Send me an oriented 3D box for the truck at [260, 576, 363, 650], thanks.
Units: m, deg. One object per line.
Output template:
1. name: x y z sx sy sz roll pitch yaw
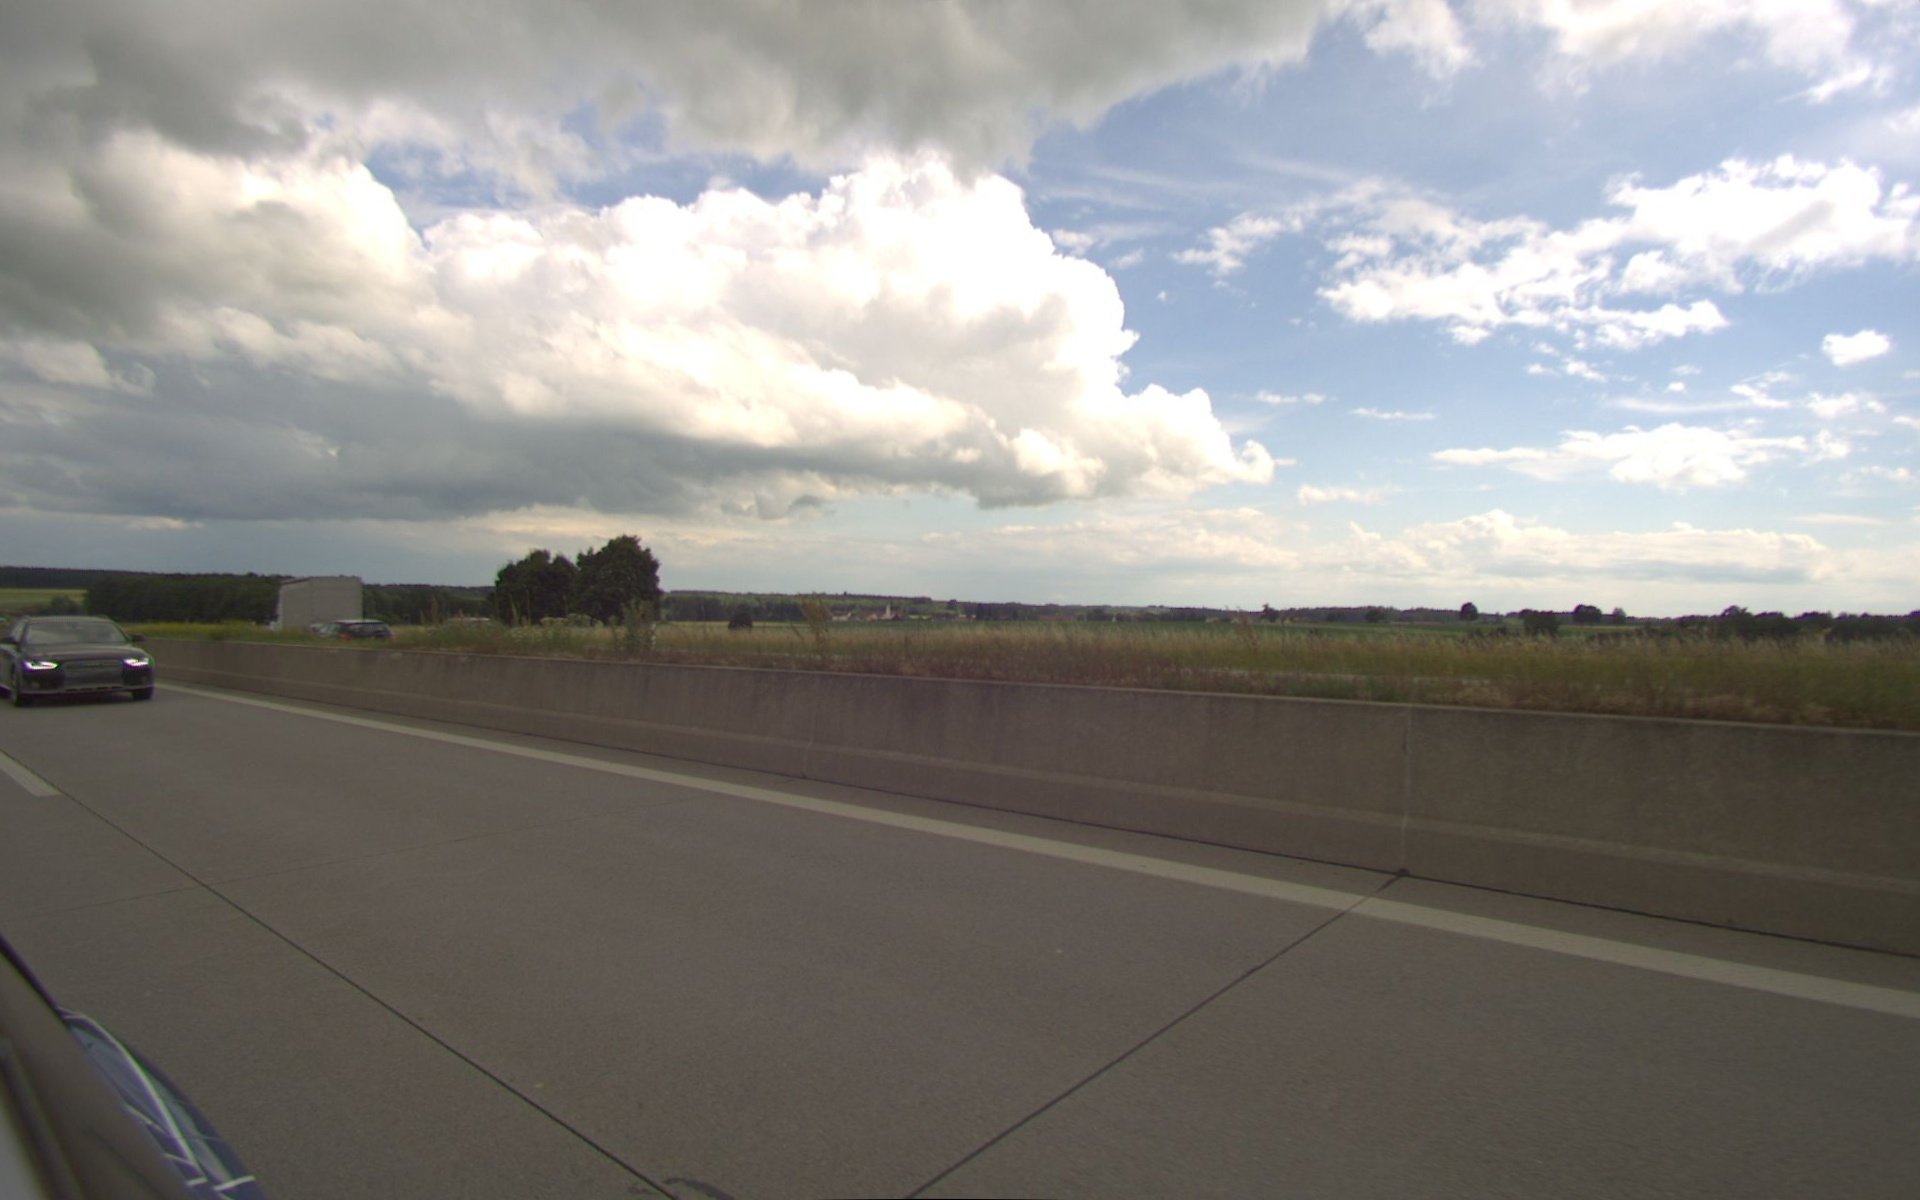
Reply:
1. truck: -31.590 0.576 49.189 7.295 3.352 2.333 0 0 42

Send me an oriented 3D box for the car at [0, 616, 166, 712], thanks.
1. car: -15.602 1.043 17.823 3.999 1.484 1.914 -1 -1 42

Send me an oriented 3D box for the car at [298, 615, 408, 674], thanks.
1. car: -18.759 1.319 31.210 4.112 1.624 1.734 0 0 41

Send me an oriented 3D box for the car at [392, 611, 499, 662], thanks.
1. car: -18.128 1.228 35.599 4.112 1.624 1.973 0 0 41

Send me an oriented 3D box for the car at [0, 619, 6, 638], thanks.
1. car: -85.990 2.500 89.508 3.997 1.648 1.905 0 0 40
